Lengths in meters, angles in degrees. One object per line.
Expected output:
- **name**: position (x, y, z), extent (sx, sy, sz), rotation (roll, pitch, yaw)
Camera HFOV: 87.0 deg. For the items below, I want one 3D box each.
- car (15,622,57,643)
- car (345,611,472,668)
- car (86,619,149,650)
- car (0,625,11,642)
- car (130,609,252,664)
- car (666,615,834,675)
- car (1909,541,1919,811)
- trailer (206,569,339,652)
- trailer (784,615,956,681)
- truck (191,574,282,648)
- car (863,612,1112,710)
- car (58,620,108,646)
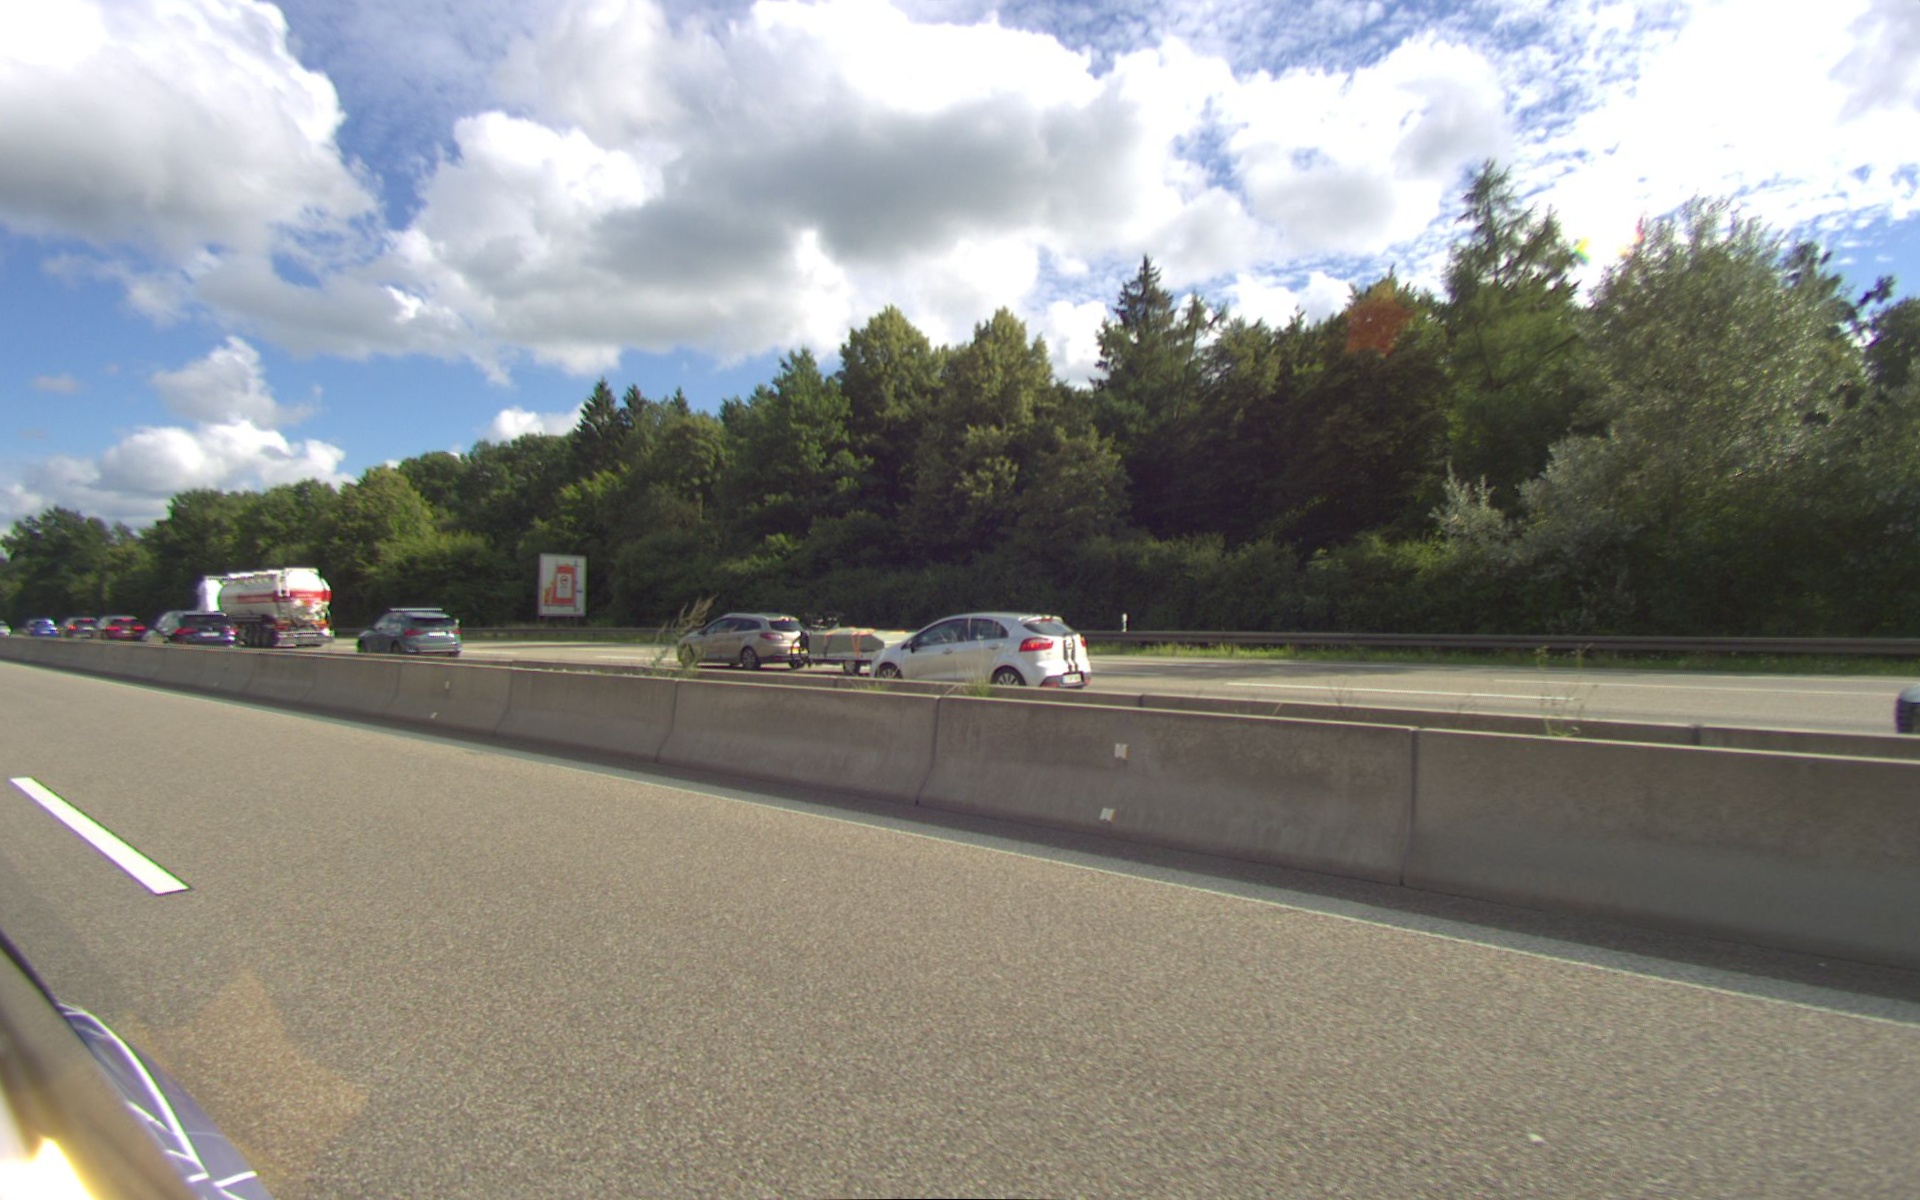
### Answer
- **car**: position (-69.284, 2.404, 75.853), extent (3.993, 1.523, 1.614), rotation (-1, -1, 37)
- **car**: position (-17.643, 1.222, 32.310), extent (4.682, 1.676, 1.974), rotation (-1, -1, 40)
- **car**: position (-47.885, 1.920, 57.496), extent (5.206, 1.683, 1.836), rotation (-1, -1, 40)
- **car**: position (-86.412, 2.957, 90.301), extent (5.127, 1.496, 1.973), rotation (-1, -1, 40)
- **car**: position (-26.088, 1.202, 34.276), extent (5.345, 1.713, 2.133), rotation (-1, -1, 40)
- **car**: position (-5.601, 1.144, 26.684), extent (4.670, 1.425, 1.809), rotation (-1, -1, 39)
- **car**: position (8.139, 0.492, 5.180), extent (4.611, 1.892, 1.830), rotation (-1, -3, 40)
- **trailer**: position (-36.562, 0.604, 53.514), extent (12.245, 3.975, 2.759), rotation (-1, -1, 41)
- **trailer**: position (-2.191, 1.091, 23.849), extent (4.176, 1.413, 1.519), rotation (-1, -1, 40)
- **truck**: position (-41.159, 0.660, 57.480), extent (6.441, 3.975, 2.759), rotation (-1, -1, 41)
- **car**: position (0.355, 0.927, 16.585), extent (3.998, 1.413, 1.586), rotation (-1, -1, 42)
- **car**: position (-58.921, 2.210, 67.978), extent (4.744, 1.632, 1.841), rotation (-1, -1, 40)
